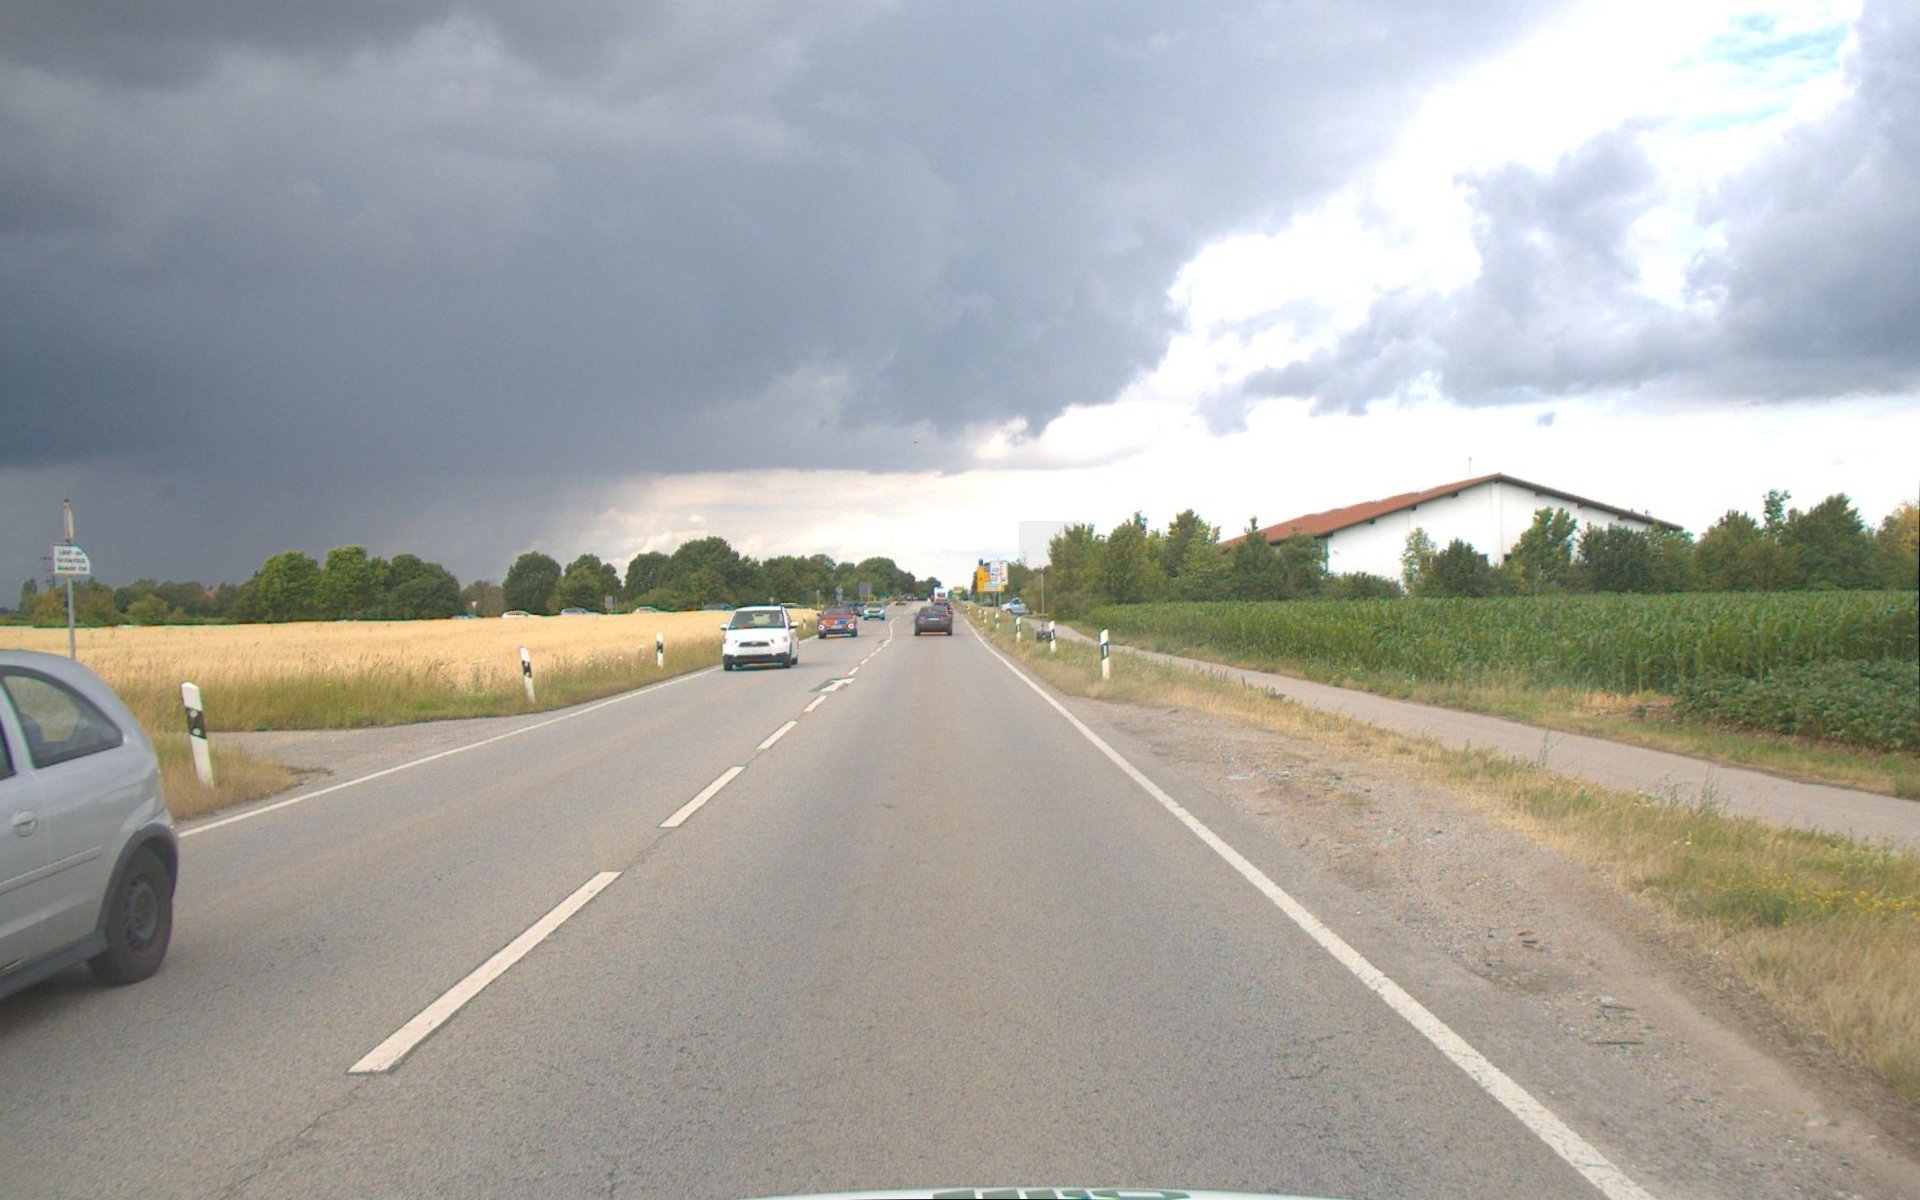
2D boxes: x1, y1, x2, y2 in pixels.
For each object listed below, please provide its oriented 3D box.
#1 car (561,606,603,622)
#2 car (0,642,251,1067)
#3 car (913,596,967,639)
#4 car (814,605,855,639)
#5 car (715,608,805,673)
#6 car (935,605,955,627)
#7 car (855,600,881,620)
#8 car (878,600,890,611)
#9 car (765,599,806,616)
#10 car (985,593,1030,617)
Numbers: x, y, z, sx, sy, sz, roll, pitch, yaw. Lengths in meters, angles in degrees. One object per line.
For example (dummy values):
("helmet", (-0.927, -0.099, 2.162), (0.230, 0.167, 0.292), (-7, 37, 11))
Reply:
("car", (-40.743, 1.491, 178.189), (3.986, 1.678, 1.867), (-1, 0, 3))
("car", (-4.112, 0.909, 5.657), (1.693, 1.387, 3.949), (-1, 0, -1))
("car", (-1.003, 0.831, 79.425), (2.325, 1.913, 4.475), (-3, 0, -3))
("car", (-5.995, 1.029, 79.374), (1.677, 1.514, 4.607), (-2, 0, -1))
("car", (-4.924, 0.966, 41.209), (1.769, 1.482, 4.112), (-1, 0, -1))
("car", (-1.226, 1.268, 133.711), (1.539, 1.731, 3.999), (-1, 0, -1))
("car", (-8.162, 0.855, 147.045), (2.023, 1.608, 4.764), (-3, 0, -1))
("car", (-11.901, 0.901, 258.748), (1.612, 1.618, 3.999), (-1, 0, 0))
("car", (-18.648, 0.838, 176.667), (4.327, 1.678, 1.500), (-1, 0, -6))
("car", (5.149, 0.515, 179.798), (4.740, 2.495, 2.004), (-1, 0, -4))
